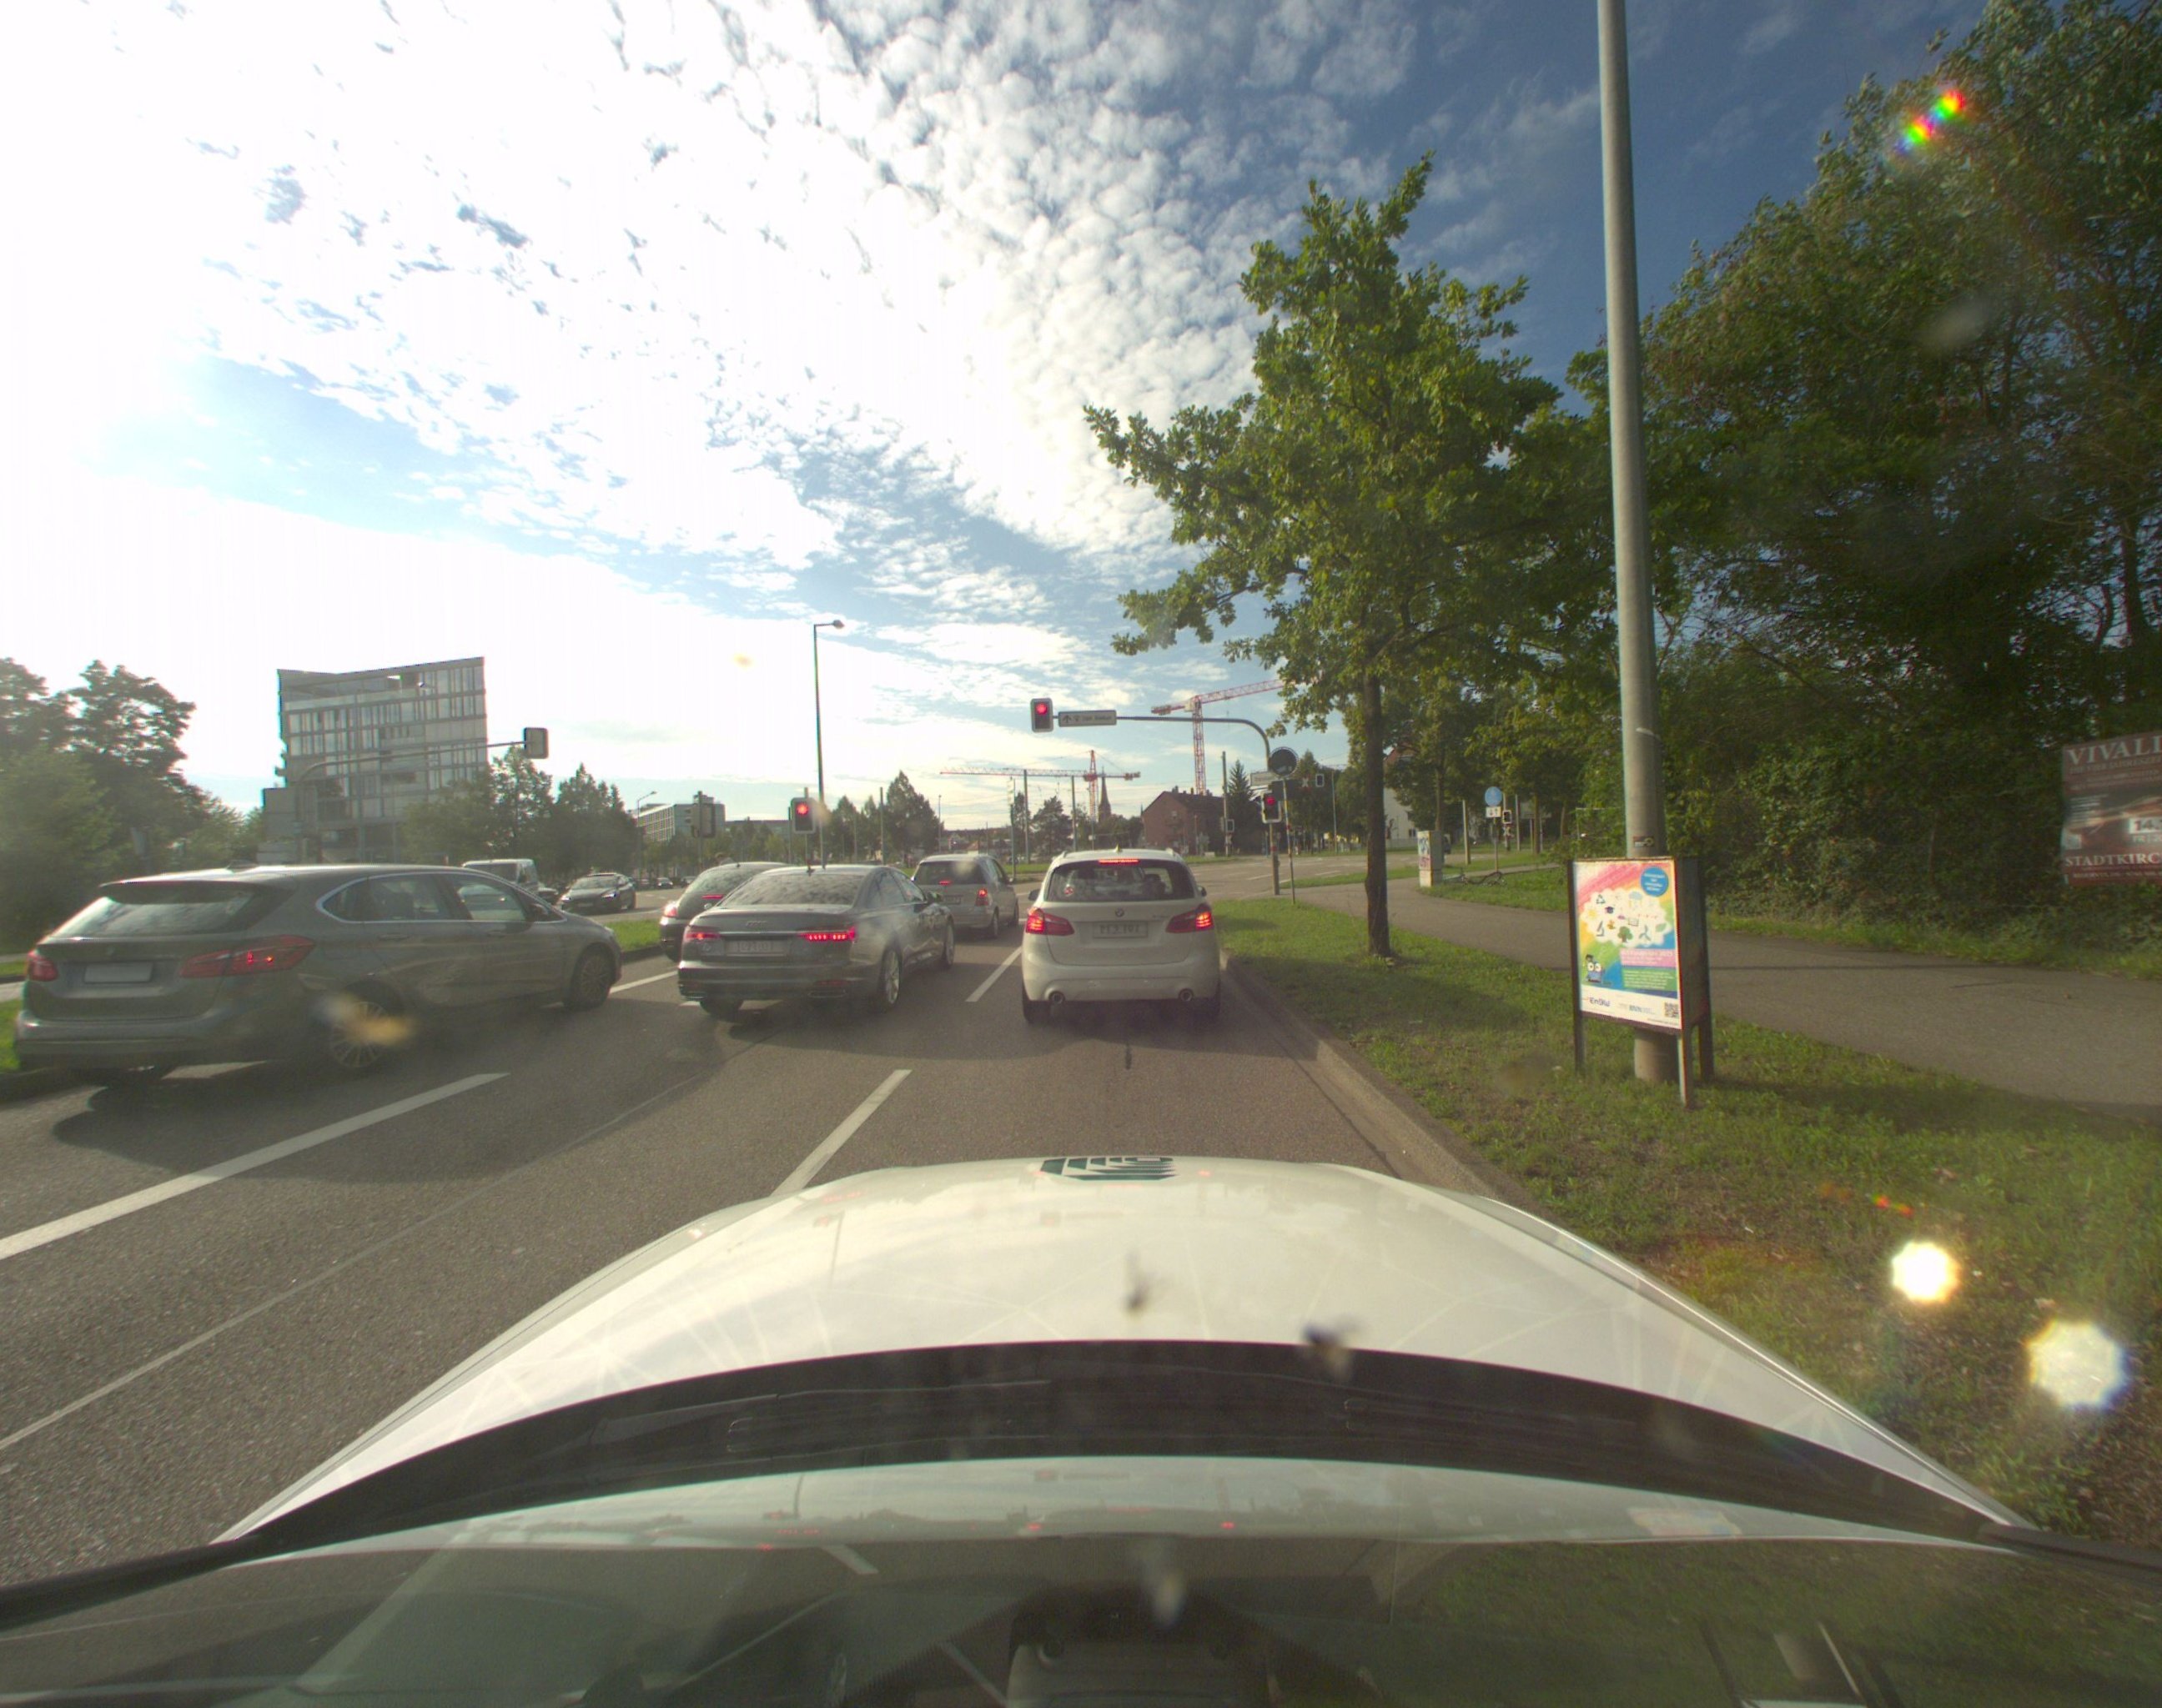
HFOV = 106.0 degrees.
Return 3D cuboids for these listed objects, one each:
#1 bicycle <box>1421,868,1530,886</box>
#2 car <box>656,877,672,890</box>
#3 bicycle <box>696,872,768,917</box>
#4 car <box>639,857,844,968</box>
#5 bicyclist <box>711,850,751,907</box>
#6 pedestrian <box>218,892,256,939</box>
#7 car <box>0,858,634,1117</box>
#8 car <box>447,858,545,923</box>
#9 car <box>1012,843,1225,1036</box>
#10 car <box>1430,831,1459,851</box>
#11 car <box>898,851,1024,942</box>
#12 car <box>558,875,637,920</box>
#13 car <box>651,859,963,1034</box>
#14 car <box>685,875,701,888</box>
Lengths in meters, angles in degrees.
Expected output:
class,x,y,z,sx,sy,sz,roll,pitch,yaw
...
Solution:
class,x,y,z,sx,sy,sz,roll,pitch,yaw
bicycle,10.511,0.601,21.862,1.407,0.385,2.568,-3,0,-9
car,-51.043,3.644,99.744,1.600,1.415,3.638,-4,-2,-25
bicycle,-9.735,1.124,22.800,1.728,1.163,0.652,-2,-1,-15
car,-5.364,0.834,13.448,1.674,1.523,3.812,-1,0,1
bicyclist,-9.780,0.688,22.793,0.850,1.526,0.737,-3,0,-15
pedestrian,-29.483,2.135,28.461,0.654,1.569,0.614,-2,-1,-9
car,-5.928,0.845,7.062,1.722,1.558,4.021,-1,0,2
car,-23.243,1.414,32.600,2.004,2.235,5.874,-4,0,-25
car,0.370,0.705,8.747,1.723,1.558,4.059,-1,0,2
car,30.154,-1.125,67.622,1.559,1.574,3.210,-1,1,13
car,-2.237,0.744,16.218,1.722,1.558,4.060,-1,0,2
car,-18.281,1.615,30.978,1.909,1.409,4.174,-5,0,-23
car,-2.717,0.820,9.370,1.883,1.483,4.614,-1,0,2
car,-48.772,3.400,102.255,1.624,1.464,3.697,-3,0,-28
